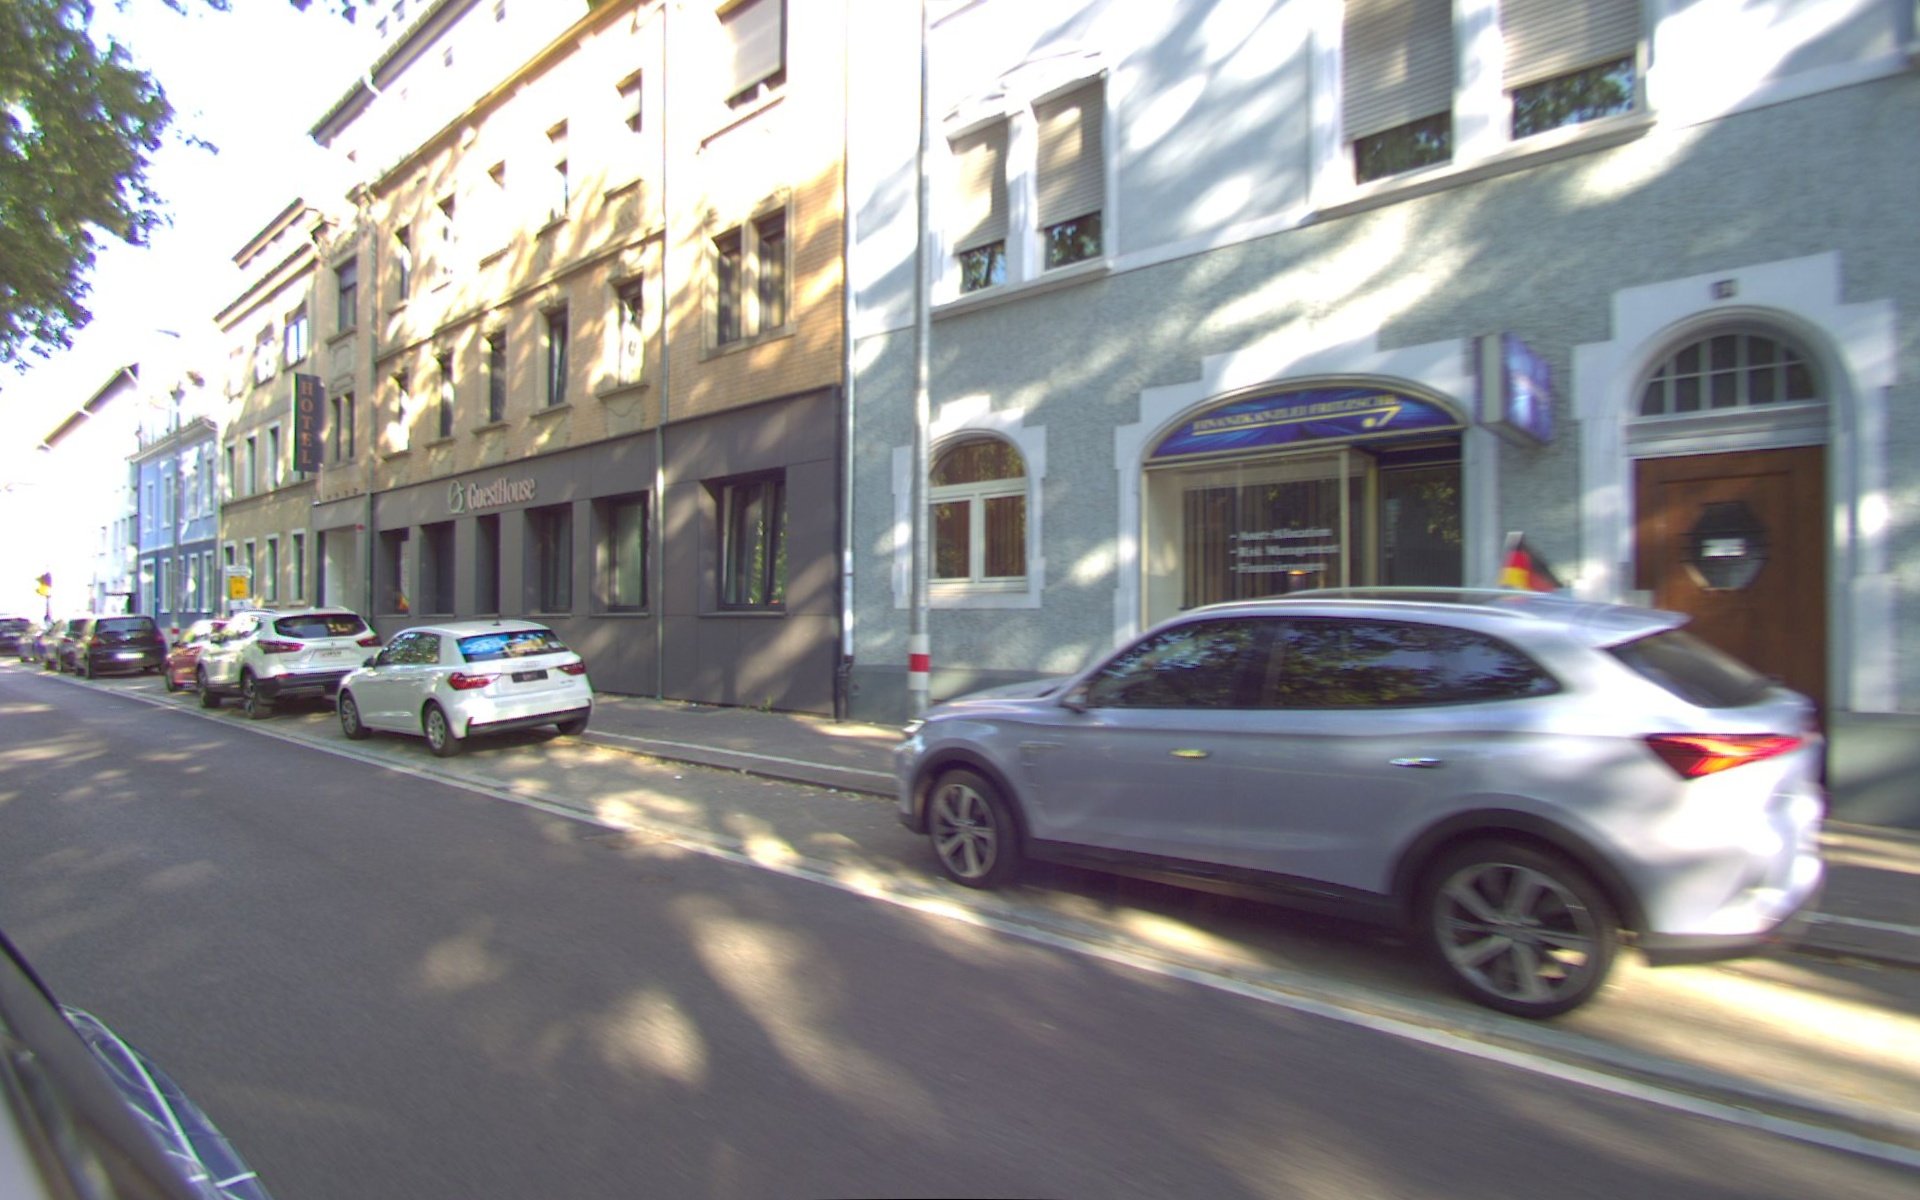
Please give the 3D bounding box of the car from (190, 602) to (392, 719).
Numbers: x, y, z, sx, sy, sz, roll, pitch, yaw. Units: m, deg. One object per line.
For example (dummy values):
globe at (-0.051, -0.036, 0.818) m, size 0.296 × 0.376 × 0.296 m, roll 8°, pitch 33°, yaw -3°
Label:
car at (-10.684, 0.872, 16.048) m, size 4.199 × 1.597 × 1.660 m, roll -1°, pitch 0°, yaw 42°

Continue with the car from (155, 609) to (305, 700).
car at (-14.571, 1.014, 20.133) m, size 3.755 × 1.604 × 1.660 m, roll -1°, pitch 0°, yaw 42°

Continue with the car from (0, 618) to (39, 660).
car at (-39.942, 1.607, 42.331) m, size 4.495 × 1.685 × 1.884 m, roll -1°, pitch 0°, yaw 45°

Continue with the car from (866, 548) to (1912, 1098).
car at (1.768, 0.694, 5.287) m, size 4.576 × 1.654 × 1.888 m, roll -1°, pitch 0°, yaw 42°

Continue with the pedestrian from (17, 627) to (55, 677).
pedestrian at (-30.089, 1.674, 32.960) m, size 0.706 × 1.582 × 0.853 m, roll -2°, pitch -2°, yaw 44°

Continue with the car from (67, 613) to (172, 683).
car at (-21.637, 1.180, 26.008) m, size 3.706 × 1.617 × 1.659 m, roll -1°, pitch 0°, yaw 44°

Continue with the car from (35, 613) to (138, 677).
car at (-25.482, 1.268, 29.484) m, size 4.155 × 1.685 × 1.763 m, roll -1°, pitch 0°, yaw 42°

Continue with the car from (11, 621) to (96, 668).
car at (-31.913, 1.527, 35.606) m, size 4.259 × 1.498 × 1.633 m, roll -1°, pitch 0°, yaw 40°

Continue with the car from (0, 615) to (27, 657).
car at (-43.966, 1.644, 46.243) m, size 4.005 × 1.832 × 1.646 m, roll -1°, pitch 0°, yaw 43°

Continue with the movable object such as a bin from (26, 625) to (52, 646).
movable object such as a bin at (-55.627, 2.133, 61.144) m, size 1.018 × 1.296 × 1.064 m, roll 2°, pitch -2°, yaw -38°

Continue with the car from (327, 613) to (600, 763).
car at (-6.135, 0.941, 12.323) m, size 3.870 × 1.507 × 1.660 m, roll -1°, pitch 0°, yaw 42°
